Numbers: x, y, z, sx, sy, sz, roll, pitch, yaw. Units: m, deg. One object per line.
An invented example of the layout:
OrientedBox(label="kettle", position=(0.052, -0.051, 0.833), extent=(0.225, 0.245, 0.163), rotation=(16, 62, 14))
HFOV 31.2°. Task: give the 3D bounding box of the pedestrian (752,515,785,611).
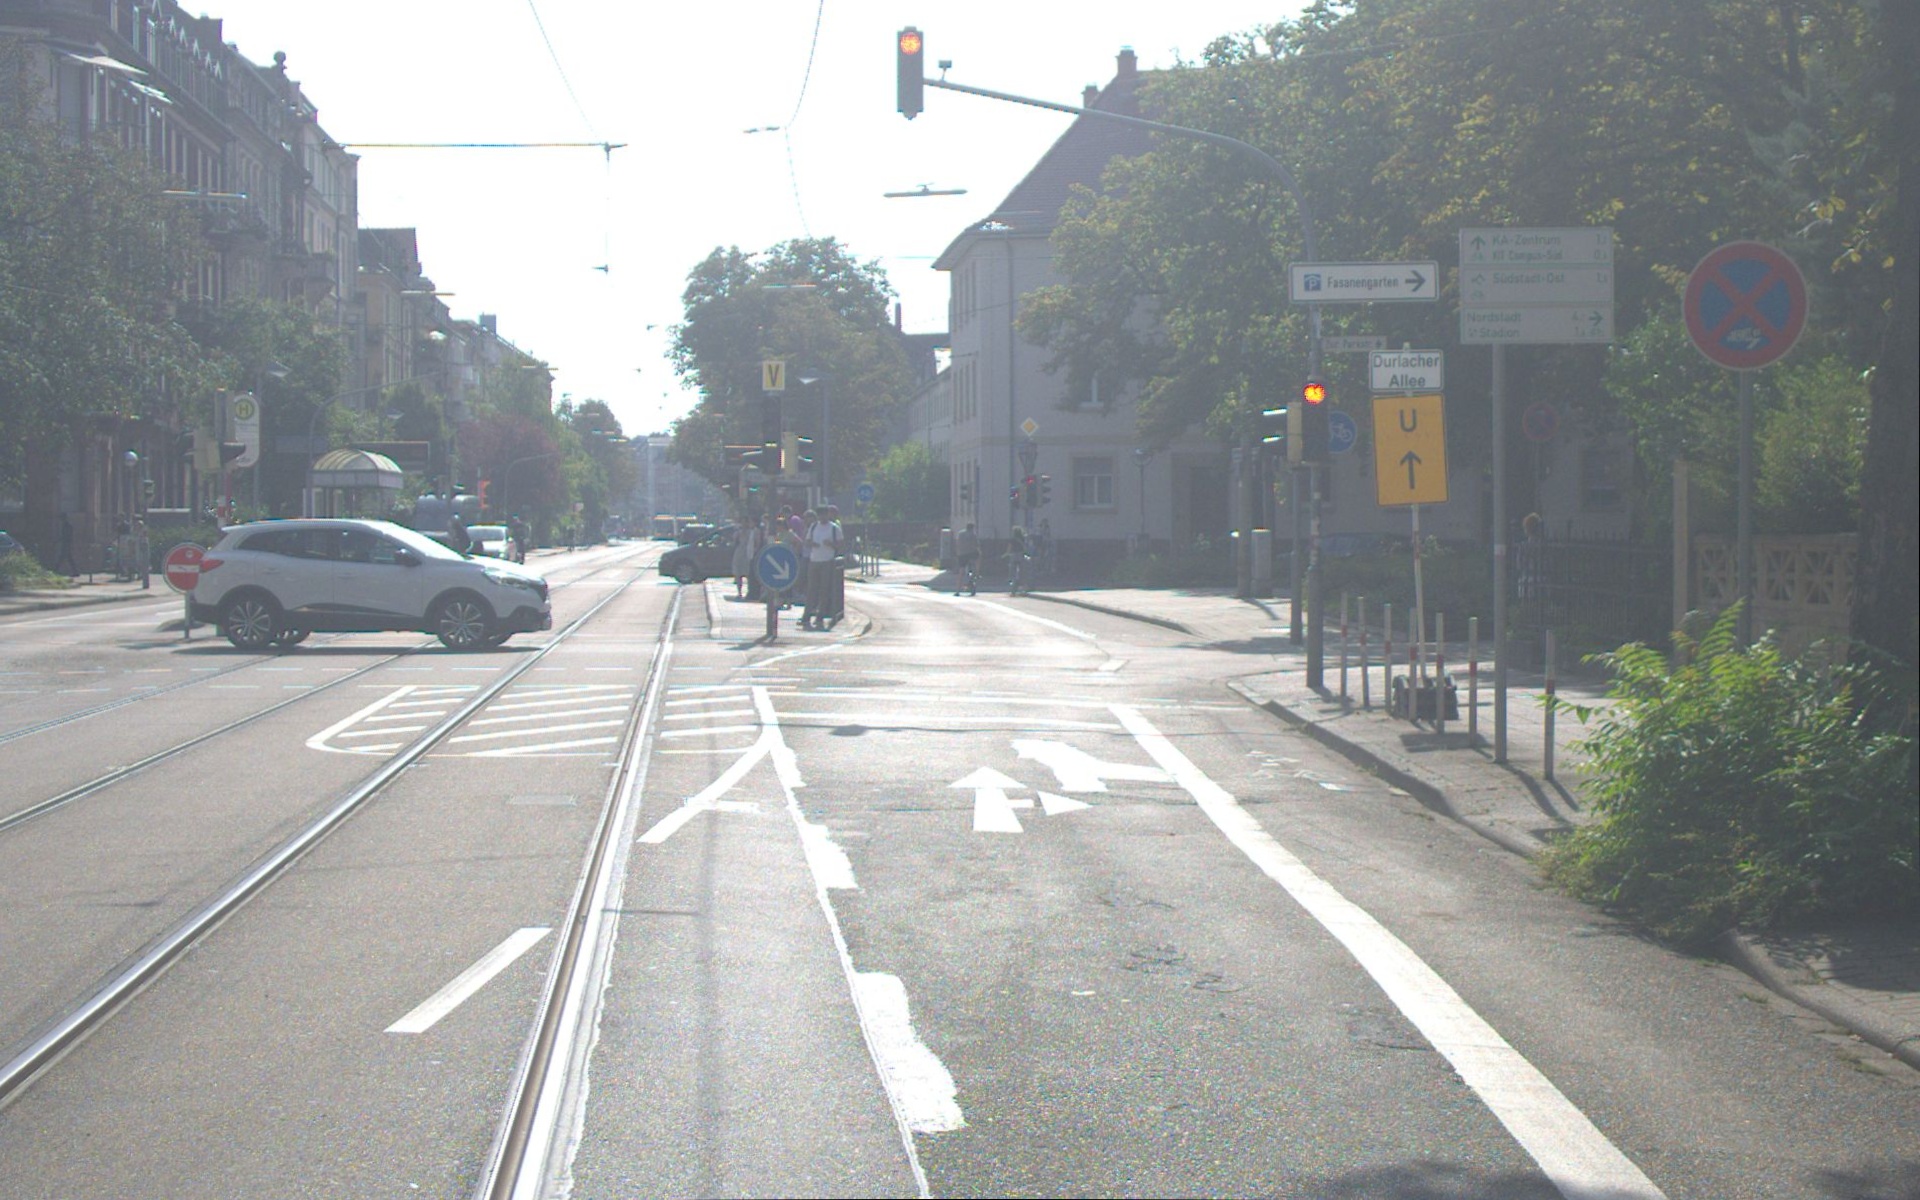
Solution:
OrientedBox(label="pedestrian", position=(-3.578, -0.691, 64.249), extent=(0.543, 1.753, 0.534), rotation=(2, 3, -4))

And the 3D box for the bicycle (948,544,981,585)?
OrientedBox(label="bicycle", position=(0.108, -0.858, 82.737), extent=(0.629, 0.974, 1.770), rotation=(0, 1, -5))

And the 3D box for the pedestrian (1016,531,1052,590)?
OrientedBox(label="pedestrian", position=(2.179, -1.162, 101.084), extent=(0.892, 1.734, 0.775), rotation=(0, 1, 17))

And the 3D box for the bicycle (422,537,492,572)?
OrientedBox(label="bicycle", position=(-13.813, -1.241, 94.412), extent=(1.850, 0.954, 0.548), rotation=(0, 1, -4))

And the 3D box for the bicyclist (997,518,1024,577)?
OrientedBox(label="bicyclist", position=(1.205, -1.270, 82.429), extent=(0.558, 1.412, 0.872), rotation=(0, 1, -5))

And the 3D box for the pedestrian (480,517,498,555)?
OrientedBox(label="pedestrian", position=(-21.397, -2.886, 156.072), extent=(0.749, 1.725, 0.772), rotation=(0, 1, -12))

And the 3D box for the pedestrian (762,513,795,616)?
OrientedBox(label="pedestrian", position=(-3.179, -0.622, 60.256), extent=(0.504, 1.753, 0.534), rotation=(2, 3, -4))

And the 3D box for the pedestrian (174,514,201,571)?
OrientedBox(label="pedestrian", position=(-23.184, -1.725, 103.134), extent=(0.532, 1.685, 0.544), rotation=(4, 3, 17))

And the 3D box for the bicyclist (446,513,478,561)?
OrientedBox(label="bicyclist", position=(-13.678, -1.738, 94.406), extent=(0.819, 1.323, 0.548), rotation=(0, 1, -4))

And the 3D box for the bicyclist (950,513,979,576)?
OrientedBox(label="bicyclist", position=(0.114, -1.343, 82.726), extent=(0.629, 1.502, 0.679), rotation=(0, 1, -5))

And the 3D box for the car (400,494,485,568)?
OrientedBox(label="car", position=(-19.032, -2.543, 126.572), extent=(2.347, 2.653, 5.105), rotation=(0, 1, 0))

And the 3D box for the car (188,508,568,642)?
OrientedBox(label="car", position=(-7.232, -0.326, 43.000), extent=(4.318, 1.625, 2.000), rotation=(0, 1, 5))

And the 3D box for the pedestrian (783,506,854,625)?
OrientedBox(label="pedestrian", position=(-2.110, -0.519, 51.329), extent=(0.701, 1.719, 0.747), rotation=(5, 4, 29))

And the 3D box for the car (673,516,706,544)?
OrientedBox(label="car", position=(-15.795, -4.105, 201.106), extent=(1.801, 1.648, 3.643), rotation=(0, 1, -3))

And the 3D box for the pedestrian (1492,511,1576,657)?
OrientedBox(label="pedestrian", position=(6.866, -0.196, 41.121), extent=(0.749, 1.725, 0.772), rotation=(0, 1, -12))

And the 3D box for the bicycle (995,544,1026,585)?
OrientedBox(label="bicycle", position=(1.213, -0.856, 82.424), extent=(0.558, 0.974, 1.857), rotation=(0, 1, -5))

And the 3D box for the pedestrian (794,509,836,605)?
OrientedBox(label="pedestrian", position=(-2.725, -0.806, 64.480), extent=(0.709, 1.753, 0.534), rotation=(2, 3, -3))

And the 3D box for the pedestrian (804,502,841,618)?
OrientedBox(label="pedestrian", position=(-2.220, -0.647, 55.594), extent=(0.504, 1.827, 0.534), rotation=(2, 3, -4))

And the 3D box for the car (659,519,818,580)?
OrientedBox(label="car", position=(-6.107, -1.389, 94.723), extent=(4.321, 1.669, 2.000), rotation=(0, 1, -4))

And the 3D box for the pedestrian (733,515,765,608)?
OrientedBox(label="pedestrian", position=(-4.071, -0.746, 66.453), extent=(0.532, 1.753, 0.545), rotation=(3, 3, -2))

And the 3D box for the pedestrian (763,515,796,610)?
OrientedBox(label="pedestrian", position=(-3.419, -0.709, 65.067), extent=(0.543, 1.753, 0.534), rotation=(2, 3, -4))

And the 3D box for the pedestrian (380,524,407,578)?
OrientedBox(label="pedestrian", position=(-18.184, -1.586, 110.404), extent=(0.750, 1.725, 0.771), rotation=(0, 1, -1))

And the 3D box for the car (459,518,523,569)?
OrientedBox(label="car", position=(-15.657, -1.891, 114.802), extent=(1.801, 1.648, 3.643), rotation=(0, 1, -3))

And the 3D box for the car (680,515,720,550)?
OrientedBox(label="car", position=(-12.341, -3.202, 163.512), extent=(1.801, 1.648, 3.643), rotation=(0, 1, -3))
